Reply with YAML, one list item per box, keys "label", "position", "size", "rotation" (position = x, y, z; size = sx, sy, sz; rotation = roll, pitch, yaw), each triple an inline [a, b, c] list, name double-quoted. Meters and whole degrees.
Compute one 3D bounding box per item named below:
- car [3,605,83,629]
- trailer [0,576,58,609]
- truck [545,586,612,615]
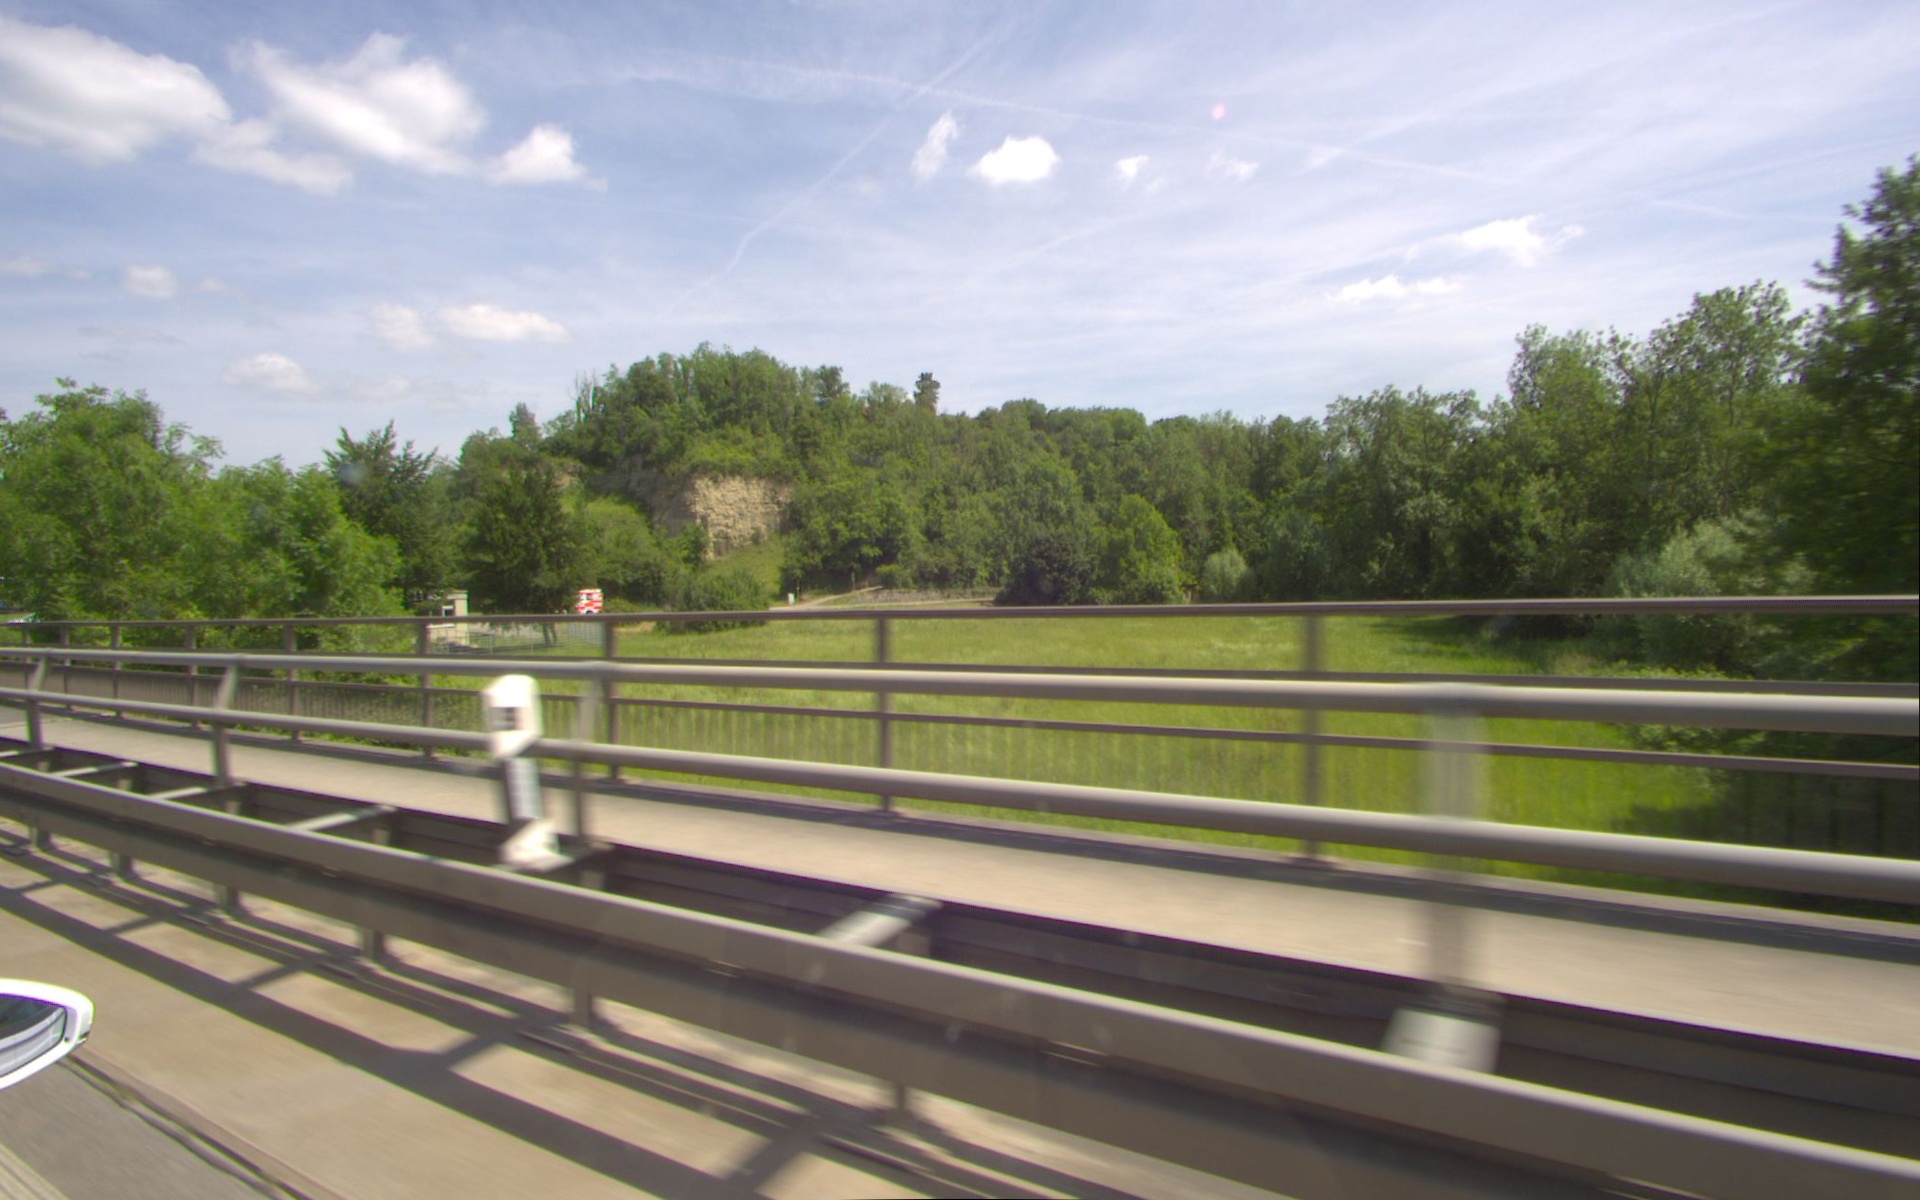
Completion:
- label: "car"
  position: [-69.194, 1.313, 75.658]
  size: [4.396, 1.740, 1.983]
  rotation: [1, -3, -42]
- label: "trailer"
  position: [-107.734, -0.798, 115.170]
  size: [3.210, 3.734, 9.216]
  rotation: [0, 0, -24]
- label: "truck"
  position: [-38.891, 0.067, 102.038]
  size: [5.958, 2.762, 2.484]
  rotation: [1, -2, -37]
